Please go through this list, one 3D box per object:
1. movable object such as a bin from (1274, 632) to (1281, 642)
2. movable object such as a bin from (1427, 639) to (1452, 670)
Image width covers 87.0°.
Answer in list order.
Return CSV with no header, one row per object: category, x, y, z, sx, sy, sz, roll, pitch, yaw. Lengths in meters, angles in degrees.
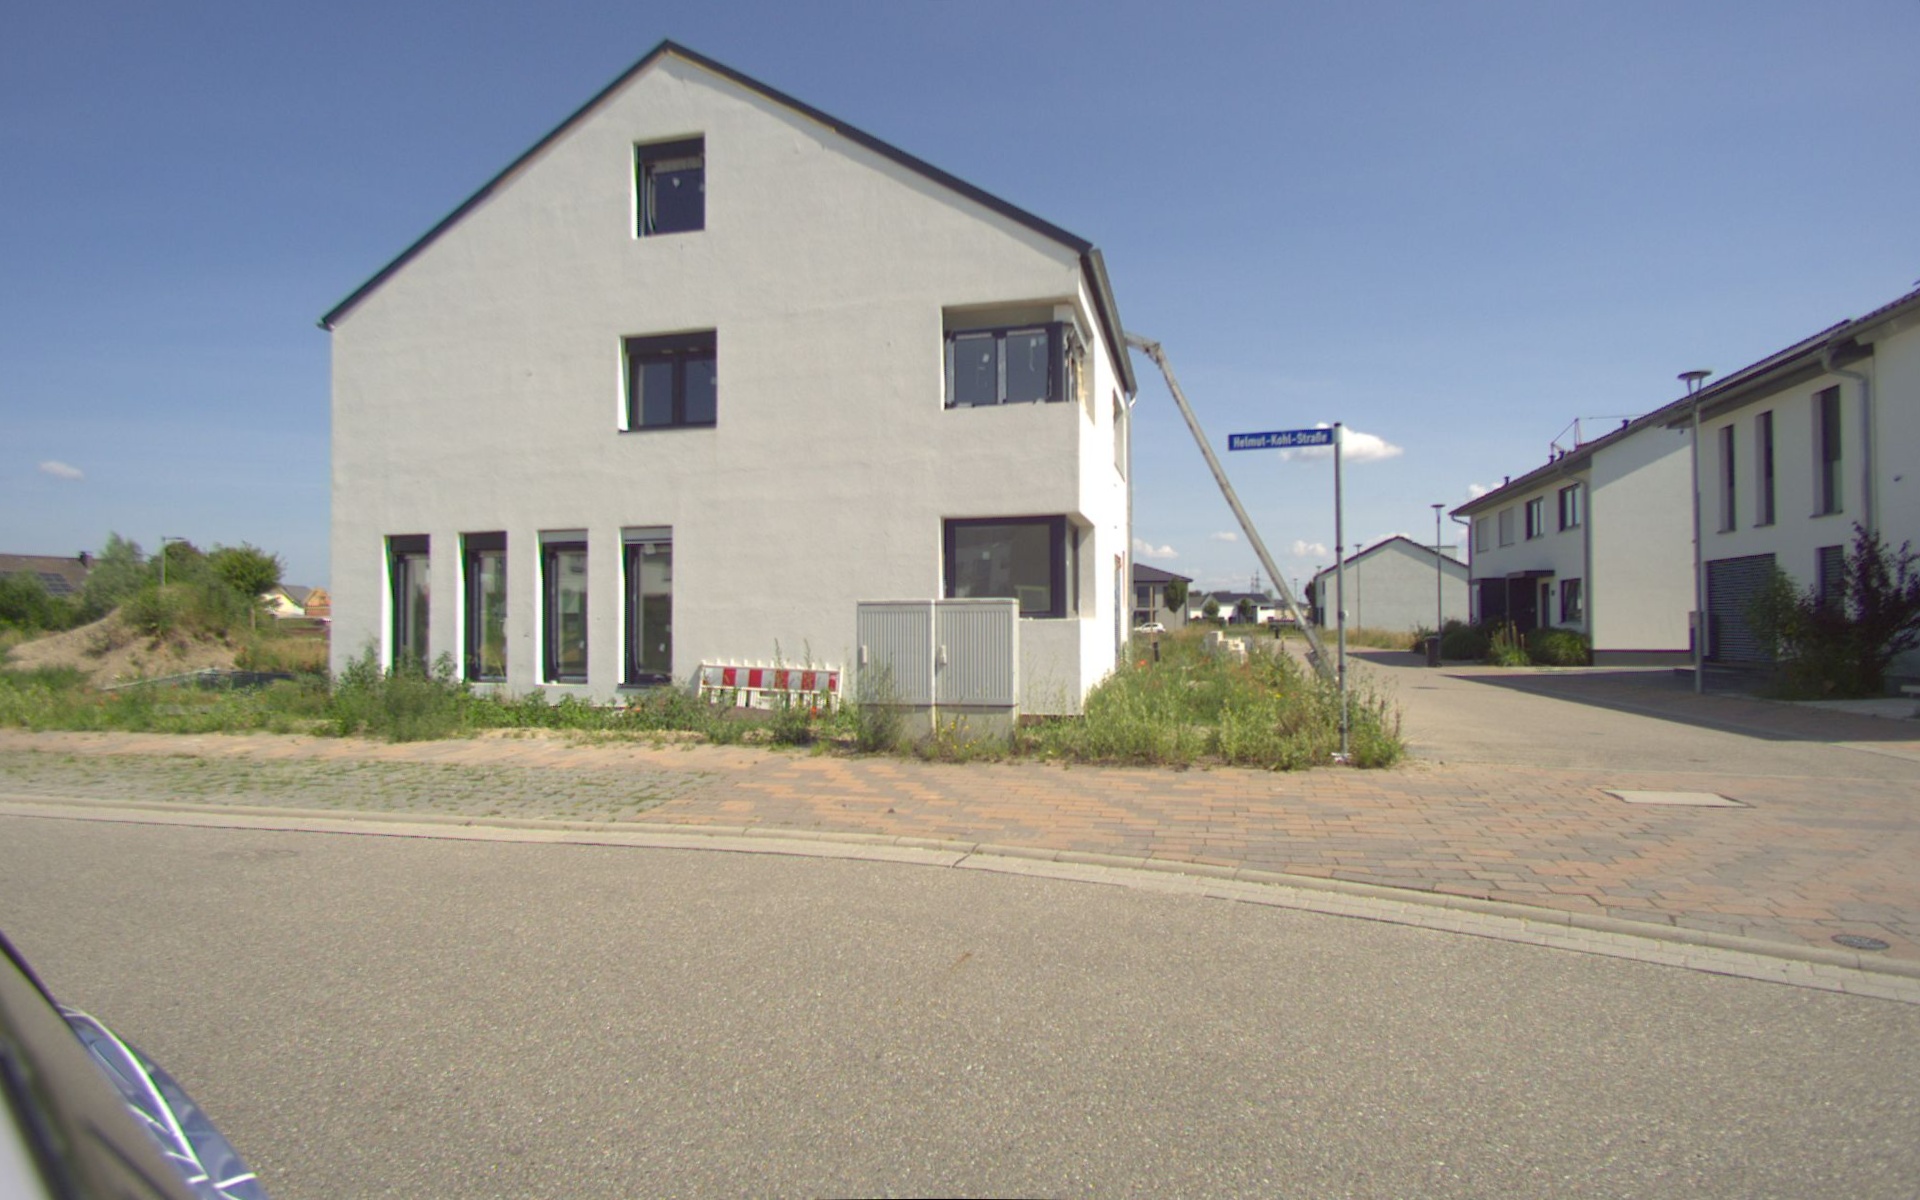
movable object such as a bin,31.257,3.643,99.682,0.592,0.928,0.459,-1,-2,15
movable object such as a bin,14.569,1.661,30.746,0.592,0.928,0.459,-1,-2,15
